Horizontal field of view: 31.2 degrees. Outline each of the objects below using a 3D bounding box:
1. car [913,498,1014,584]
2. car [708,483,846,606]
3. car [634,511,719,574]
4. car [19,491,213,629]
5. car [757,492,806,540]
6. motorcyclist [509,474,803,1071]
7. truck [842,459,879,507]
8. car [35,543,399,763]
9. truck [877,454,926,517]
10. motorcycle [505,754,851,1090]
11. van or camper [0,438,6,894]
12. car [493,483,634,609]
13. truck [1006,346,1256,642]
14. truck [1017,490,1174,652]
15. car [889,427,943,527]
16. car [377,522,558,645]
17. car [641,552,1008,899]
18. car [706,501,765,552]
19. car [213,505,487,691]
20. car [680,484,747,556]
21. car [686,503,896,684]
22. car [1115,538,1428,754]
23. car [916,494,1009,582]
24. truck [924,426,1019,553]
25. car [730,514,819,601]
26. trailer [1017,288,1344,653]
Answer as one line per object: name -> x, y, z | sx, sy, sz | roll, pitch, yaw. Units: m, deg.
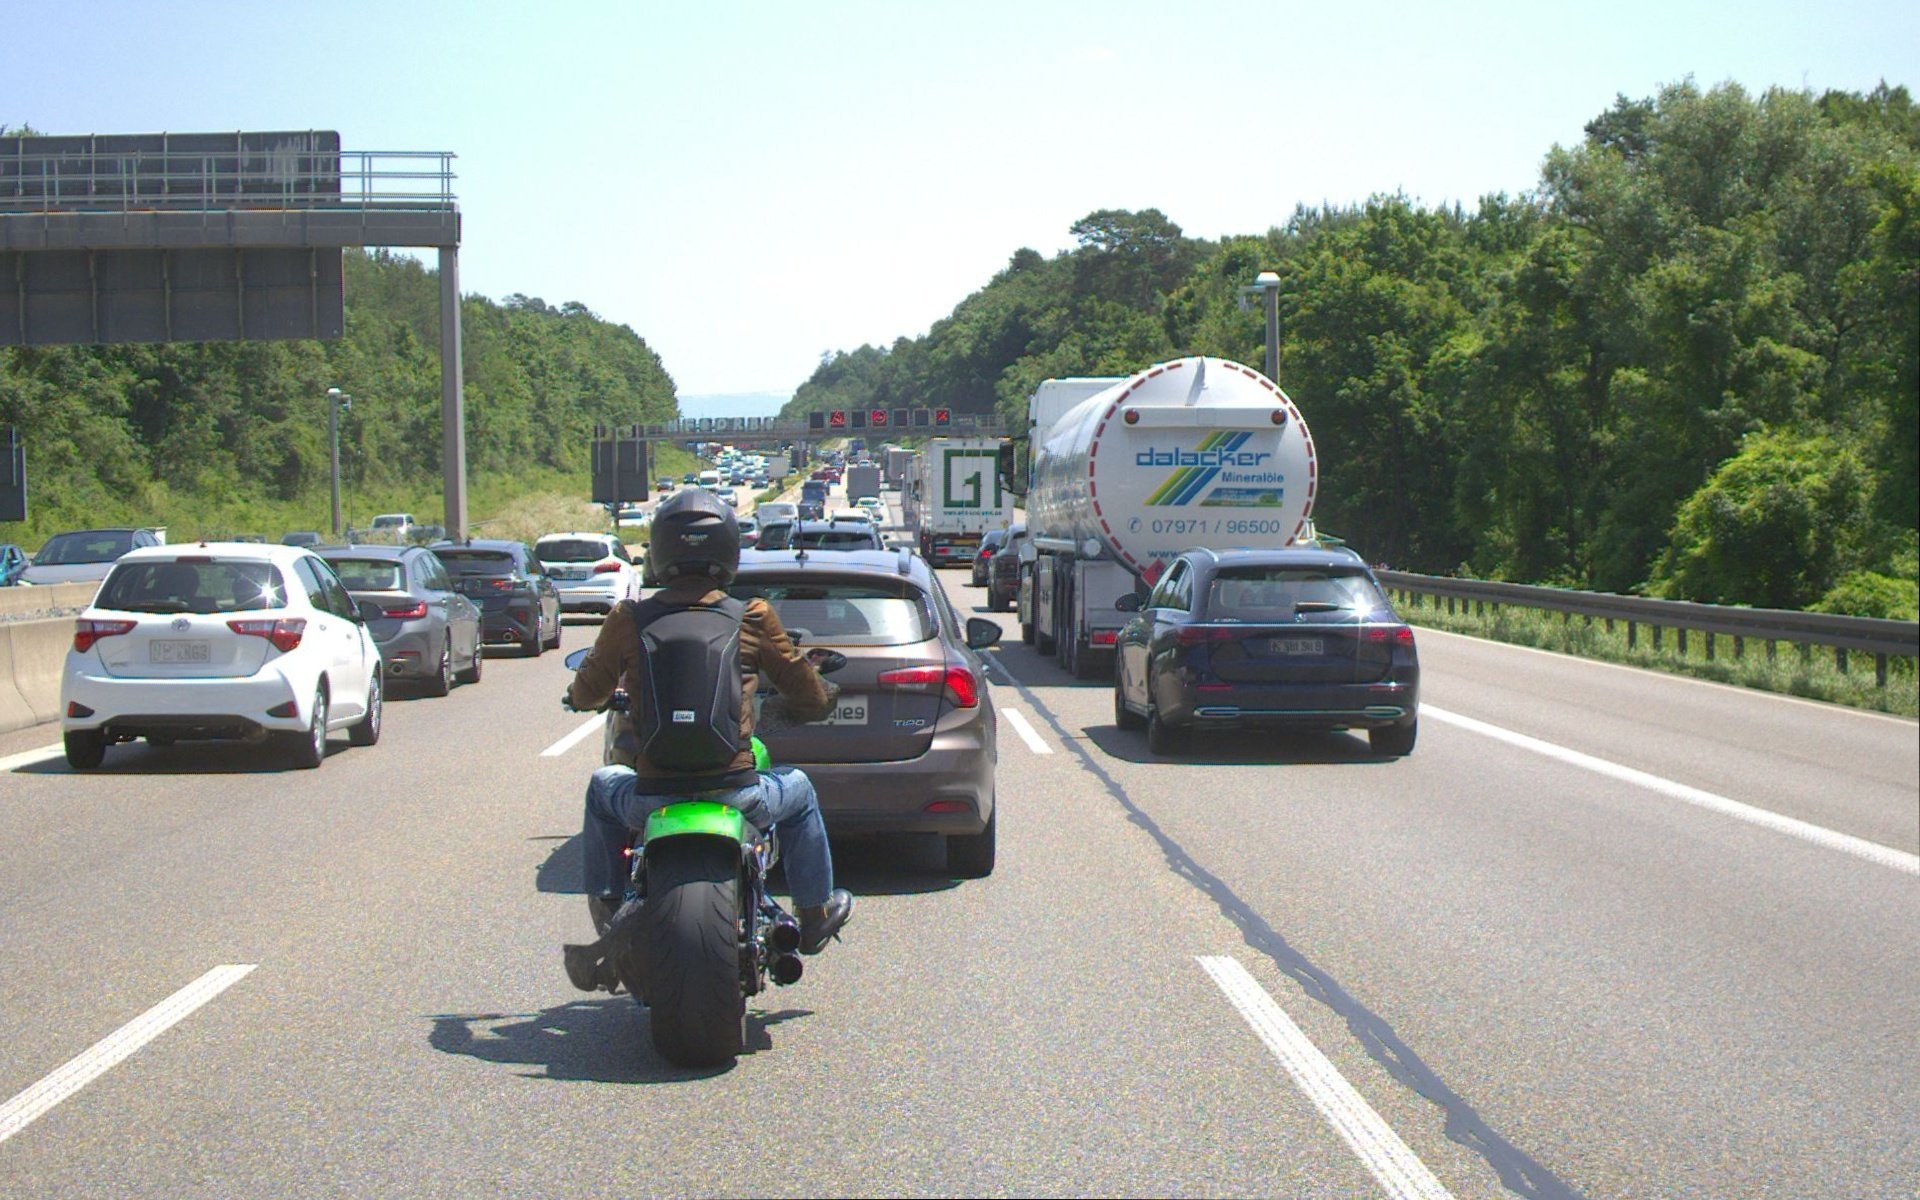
car -> 0.034, -1.070, 64.015 | 1.776, 1.522, 4.000 | 0, 0, -1
car -> -2.739, -0.810, 51.933 | 1.993, 1.769, 4.000 | 0, 0, -2
car -> -6.724, -1.344, 81.847 | 1.764, 1.437, 4.000 | 0, 0, -1
car -> -12.778, -0.588, 52.301 | 1.993, 2.007, 4.000 | 0, 0, -1
car -> -7.734, -3.637, 149.410 | 1.993, 2.007, 4.000 | -1, 1, -1
motorcyclist -> -0.880, 0.487, 10.215 | 0.799, 1.682, 1.016 | 0, 0, -1
truck -> -7.493, -8.784, 259.215 | 2.696, 3.394, 10.479 | -1, 1, -1
car -> -5.112, 0.335, 24.138 | 1.776, 1.406, 4.000 | 0, 0, -1
truck -> -3.372, -6.487, 196.170 | 2.696, 3.394, 10.479 | -1, 1, -1
motorcycle -> -0.816, 0.942, 10.647 | 0.936, 0.790, 2.299 | 0, 1, -1
van or camper -> -4.836, 0.323, 11.895 | 1.853, 1.874, 4.562 | 0, 1, -1
car -> -6.511, -0.867, 56.801 | 1.993, 2.007, 4.000 | 0, 0, -2
truck -> 2.161, -1.323, 45.836 | 2.828, 3.658, 6.430 | 0, 0, -1
truck -> 2.552, -0.607, 67.157 | 2.388, 2.969, 8.254 | 0, 1, -2
car -> -1.891, -5.120, 144.972 | 2.167, 3.879, 9.330 | 0, 0, -1
car -> -6.143, -0.201, 43.274 | 1.993, 1.459, 4.001 | 0, 0, -4
car -> -0.625, 0.502, 16.536 | 1.541, 1.445, 4.000 | 0, 1, -1
car -> -7.101, -2.316, 108.947 | 1.660, 1.594, 4.000 | 0, 1, -1
car -> -5.847, -0.027, 33.433 | 1.993, 1.678, 4.330 | 0, 0, -1
car -> -6.940, -2.232, 96.965 | 1.660, 1.971, 4.000 | 0, 1, -1
car -> -1.688, -0.066, 34.721 | 1.993, 1.705, 4.000 | 0, 0, -2
car -> 2.218, 0.304, 25.652 | 1.792, 1.453, 4.624 | 0, 0, -1
car -> 0.031, -1.440, 81.458 | 1.993, 2.007, 4.000 | 0, 0, -3
truck -> 0.418, -3.466, 109.720 | 2.853, 3.808, 7.187 | 0, 0, 1
car -> -4.381, -0.995, 81.845 | 1.993, 2.007, 4.000 | 0, 0, -1
trailer -> 2.316, -1.316, 40.008 | 2.828, 3.658, 10.733 | 0, 0, -1
